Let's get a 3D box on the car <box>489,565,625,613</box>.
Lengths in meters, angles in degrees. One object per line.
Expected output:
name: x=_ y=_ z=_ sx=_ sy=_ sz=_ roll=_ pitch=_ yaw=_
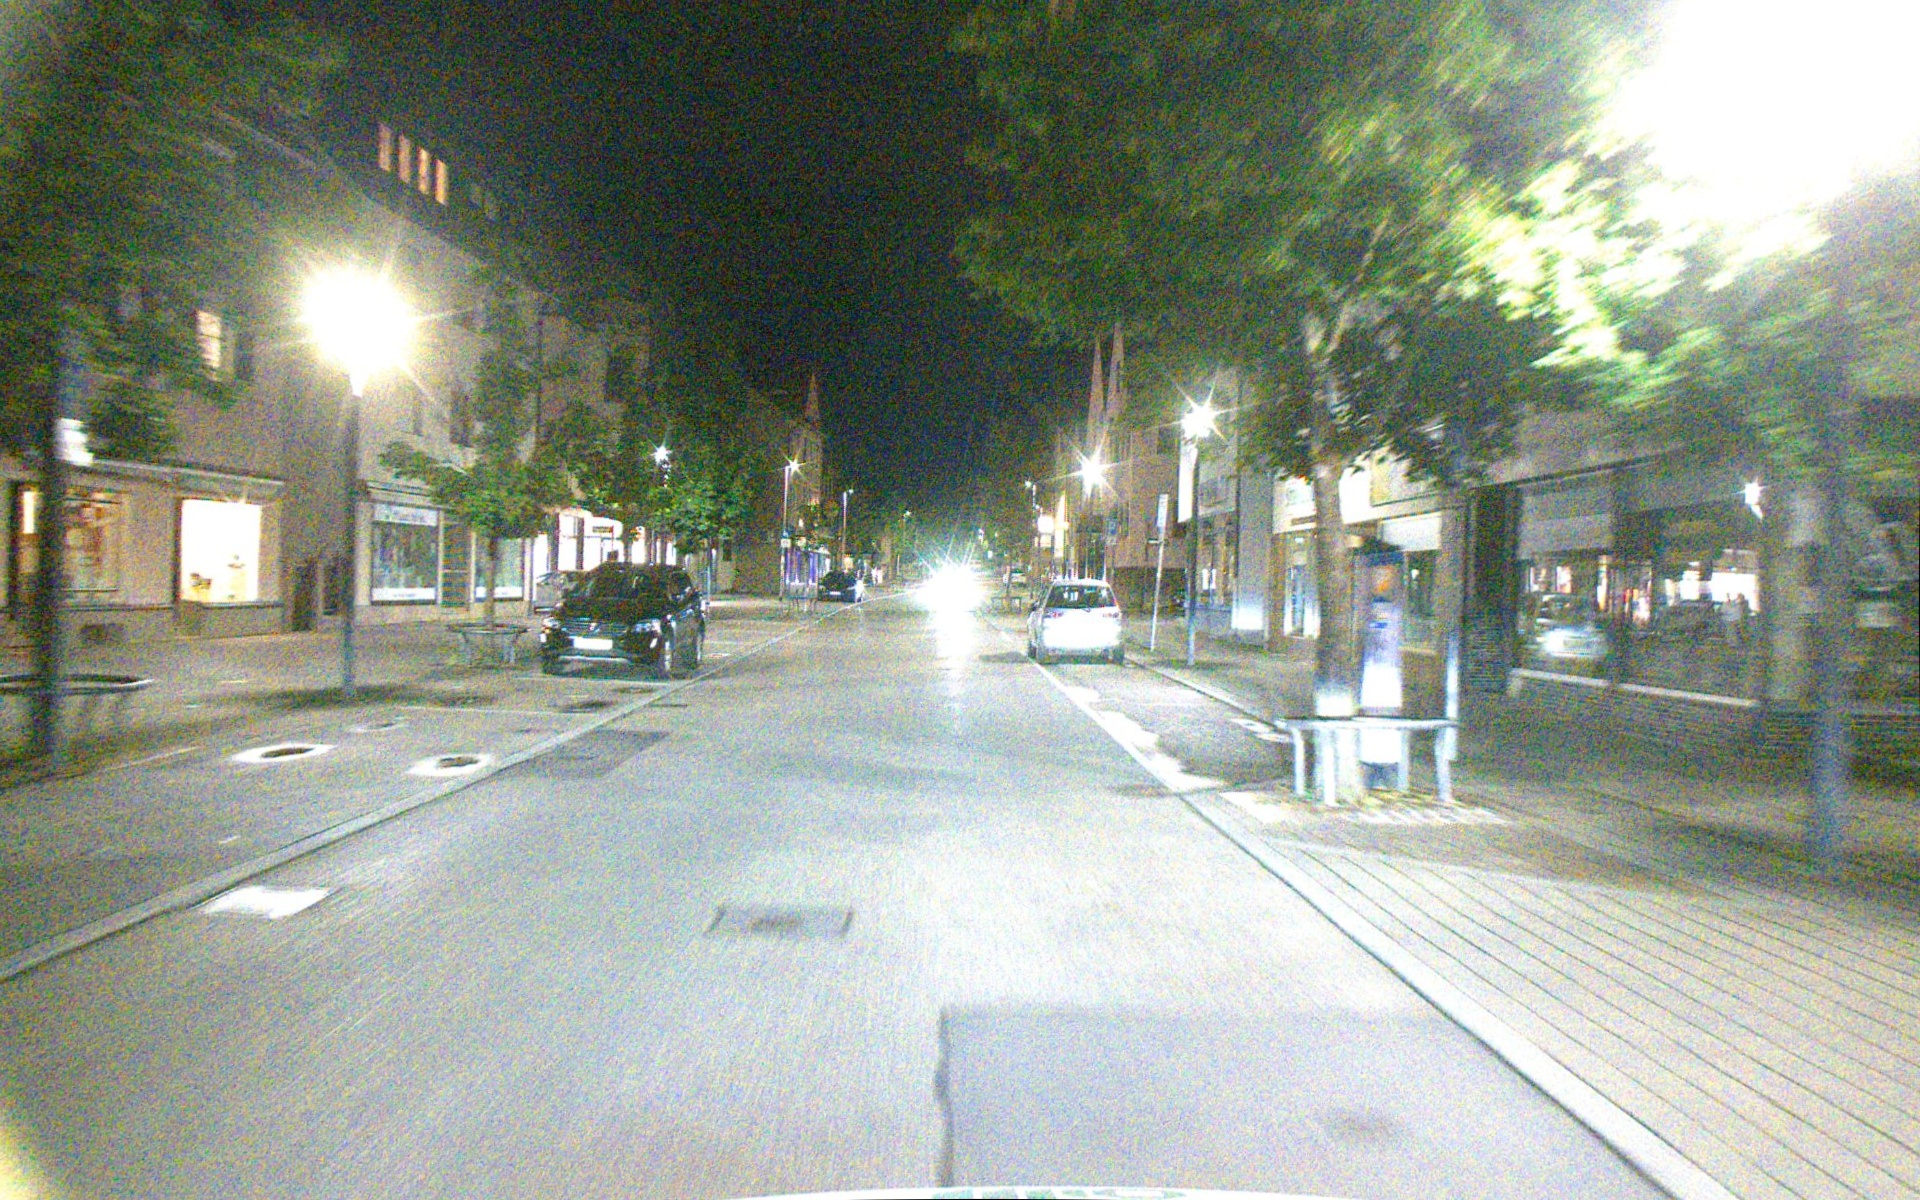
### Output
car: x=-13.598 y=-0.383 z=55.960 sx=4.080 sy=1.463 sz=1.841 roll=-2 pitch=0 yaw=3

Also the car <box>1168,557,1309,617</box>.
car: x=8.679 y=-0.426 z=51.674 sx=3.996 sy=1.608 sz=1.815 roll=-3 pitch=2 yaw=-4

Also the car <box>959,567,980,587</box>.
car: x=0.867 y=-2.033 z=143.321 sx=1.739 sy=1.681 sz=4.365 roll=1 pitch=1 yaw=1

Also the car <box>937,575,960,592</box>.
car: x=-0.870 y=-1.289 z=126.137 sx=1.687 sy=1.268 sz=4.238 roll=1 pitch=1 yaw=1

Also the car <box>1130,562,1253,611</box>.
car: x=7.990 y=-0.466 z=57.363 sx=3.908 sy=1.502 sz=1.751 roll=-3 pitch=0 yaw=-3

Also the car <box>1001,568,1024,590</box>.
car: x=4.226 y=-1.694 z=133.533 sx=1.739 sy=1.681 sz=4.365 roll=1 pitch=1 yaw=1

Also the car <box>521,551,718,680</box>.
car: x=-5.189 y=0.192 z=25.898 sx=1.976 sy=1.720 sz=5.003 roll=3 pitch=1 yaw=0

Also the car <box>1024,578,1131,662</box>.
car: x=2.183 y=0.344 z=31.611 sx=1.641 sy=1.485 sz=3.674 roll=1 pitch=1 yaw=-2

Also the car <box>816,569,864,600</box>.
car: x=-5.765 y=-0.769 z=79.782 sx=1.875 sy=1.394 sz=4.458 roll=1 pitch=1 yaw=1

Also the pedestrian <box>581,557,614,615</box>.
pedestrian: x=-10.728 y=-0.423 z=48.956 sx=0.753 sy=1.684 sz=0.817 roll=1 pitch=2 yaw=1
